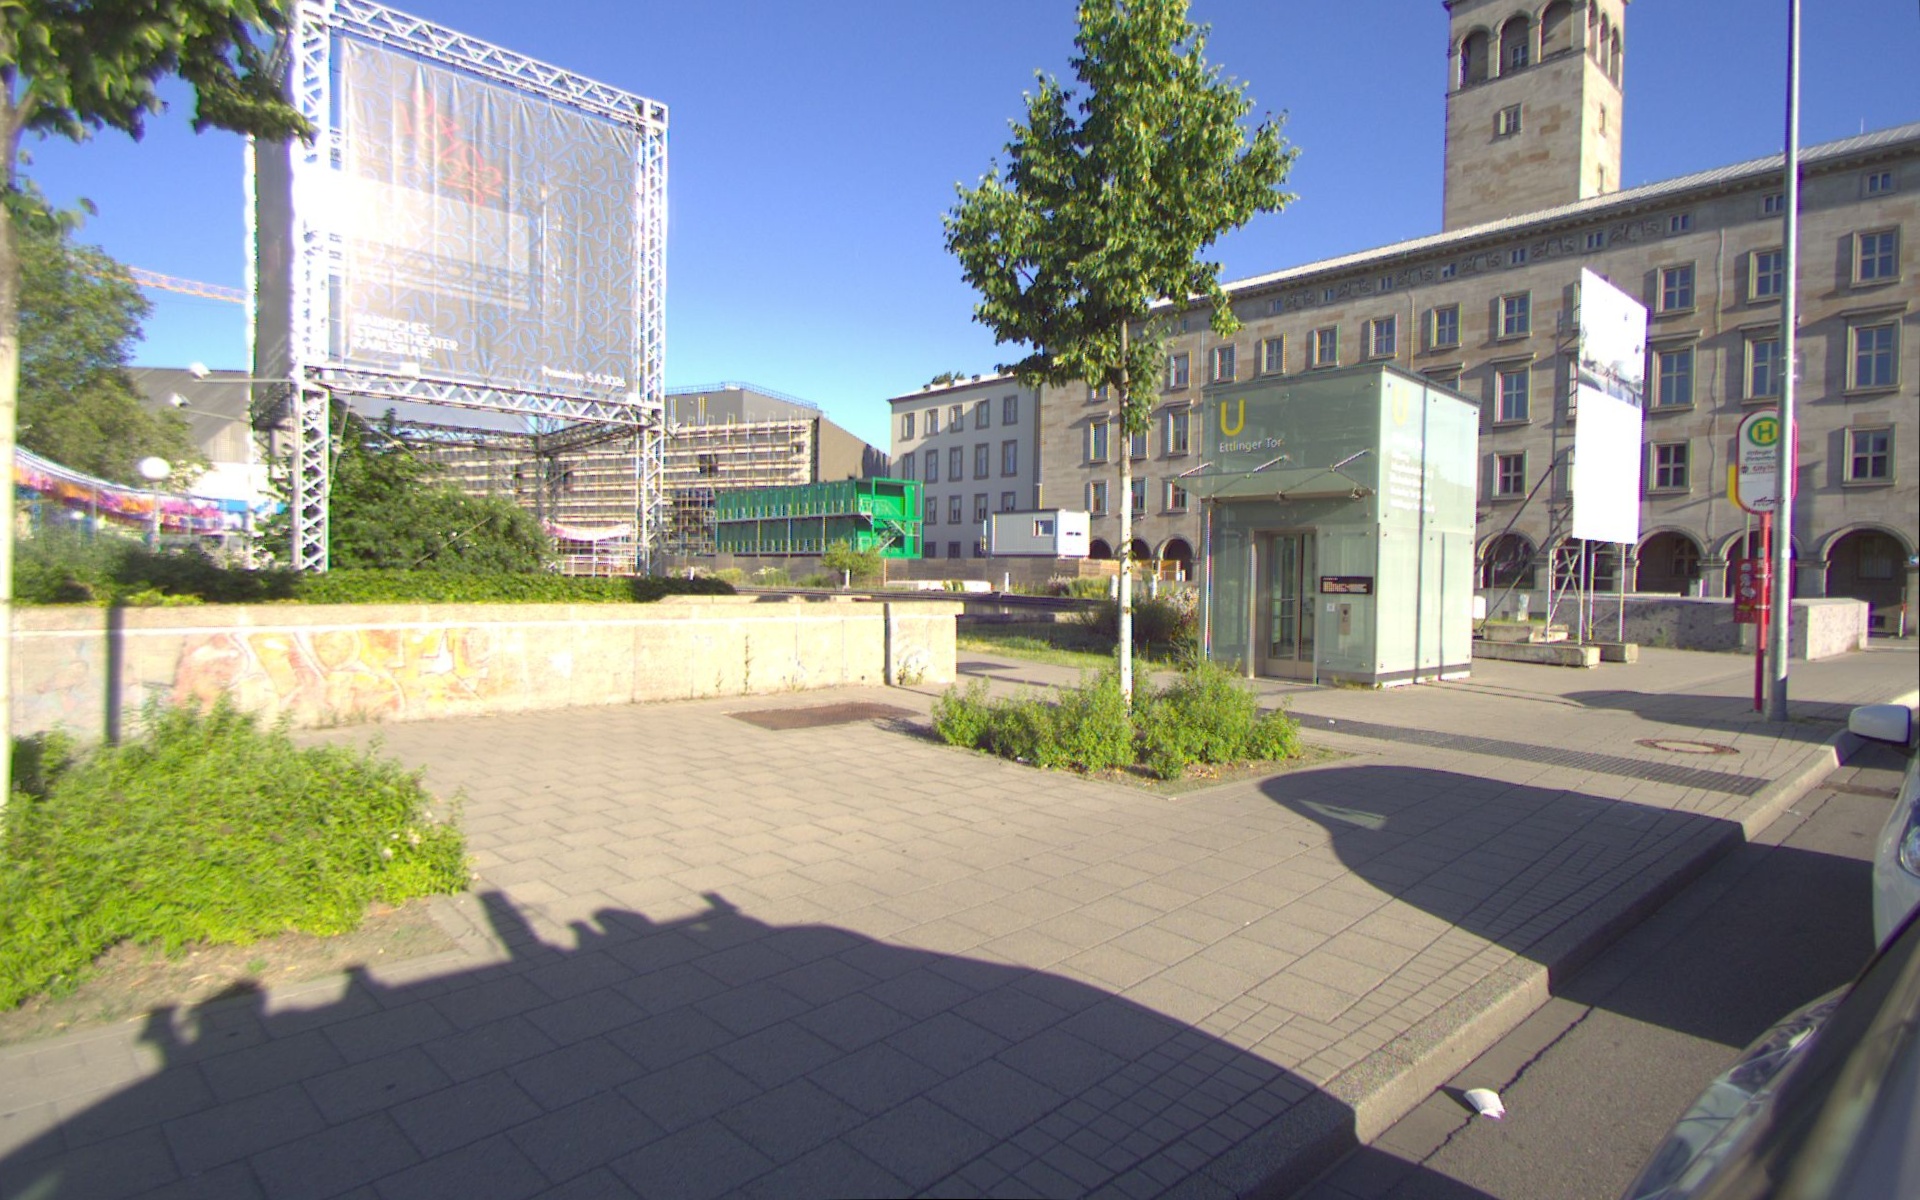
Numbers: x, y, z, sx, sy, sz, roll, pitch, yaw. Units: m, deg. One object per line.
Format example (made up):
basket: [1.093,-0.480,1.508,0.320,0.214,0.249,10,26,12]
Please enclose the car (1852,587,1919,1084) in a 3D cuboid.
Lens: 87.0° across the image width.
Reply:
car: [4.789,0.696,3.793,3.899,1.490,1.658,0,0,-41]
